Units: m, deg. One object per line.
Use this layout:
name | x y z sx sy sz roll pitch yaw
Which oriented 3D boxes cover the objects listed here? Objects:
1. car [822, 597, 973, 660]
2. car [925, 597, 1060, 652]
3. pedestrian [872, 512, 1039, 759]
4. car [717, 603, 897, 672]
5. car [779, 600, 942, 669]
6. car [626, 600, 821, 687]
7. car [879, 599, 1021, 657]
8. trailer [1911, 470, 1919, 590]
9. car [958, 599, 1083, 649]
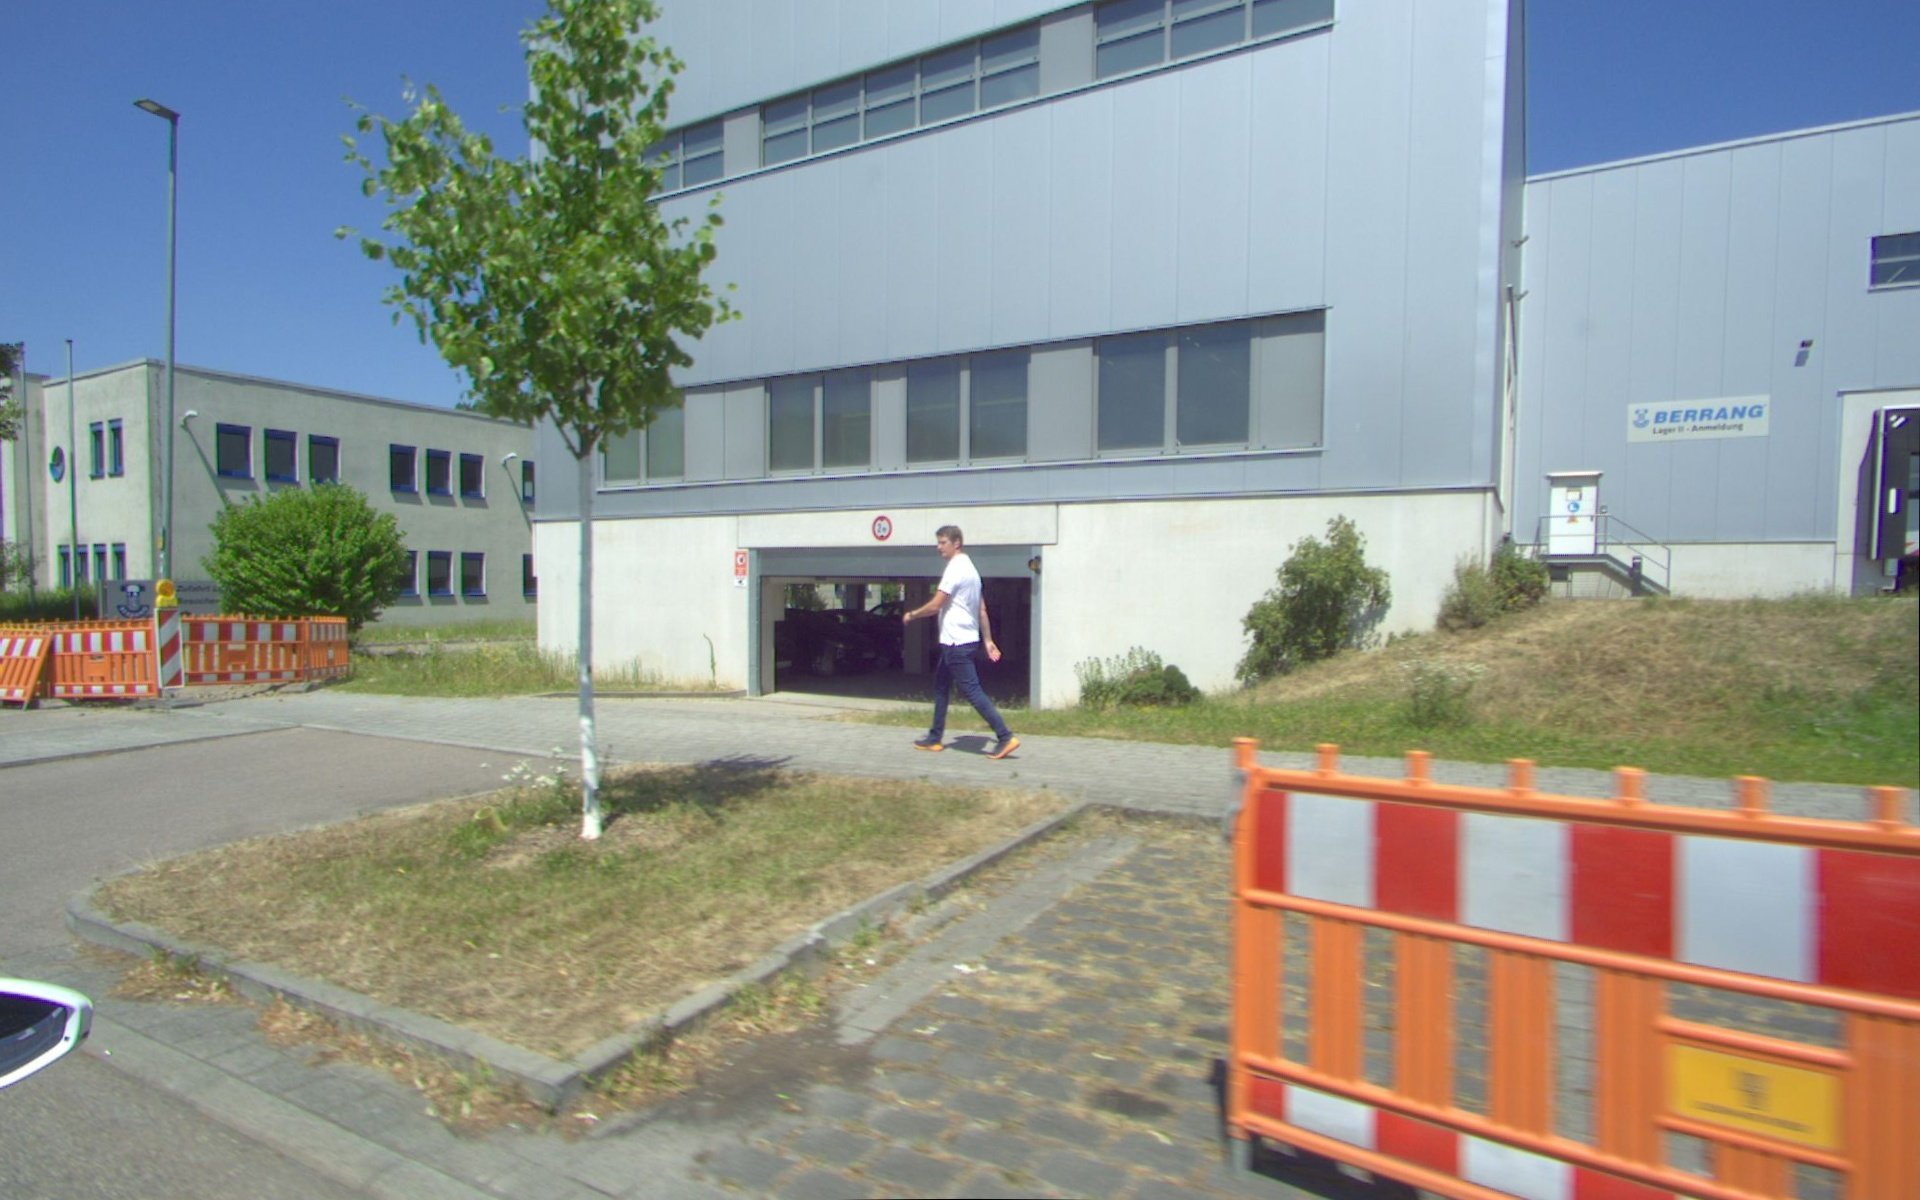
car | -1.812 0.754 28.612 3.942 1.473 1.877 4 3 33
car | 1.032 0.755 32.417 3.942 1.473 1.877 4 3 33
pedestrian | -0.014 0.272 8.312 1.192 1.914 0.864 1 1 15
car | -3.624 0.861 23.538 3.944 1.496 1.878 -1 -1 33
car | -2.637 0.846 26.282 3.942 1.473 1.877 4 3 33
car | -5.066 0.854 21.301 3.942 1.473 1.821 4 3 33
car | -0.321 0.808 30.631 3.942 1.473 1.877 4 3 33
trailer | 14.483 -1.191 9.559 7.305 2.453 2.654 4 1 33
car | 2.059 0.770 34.360 3.942 1.430 1.698 4 3 33
